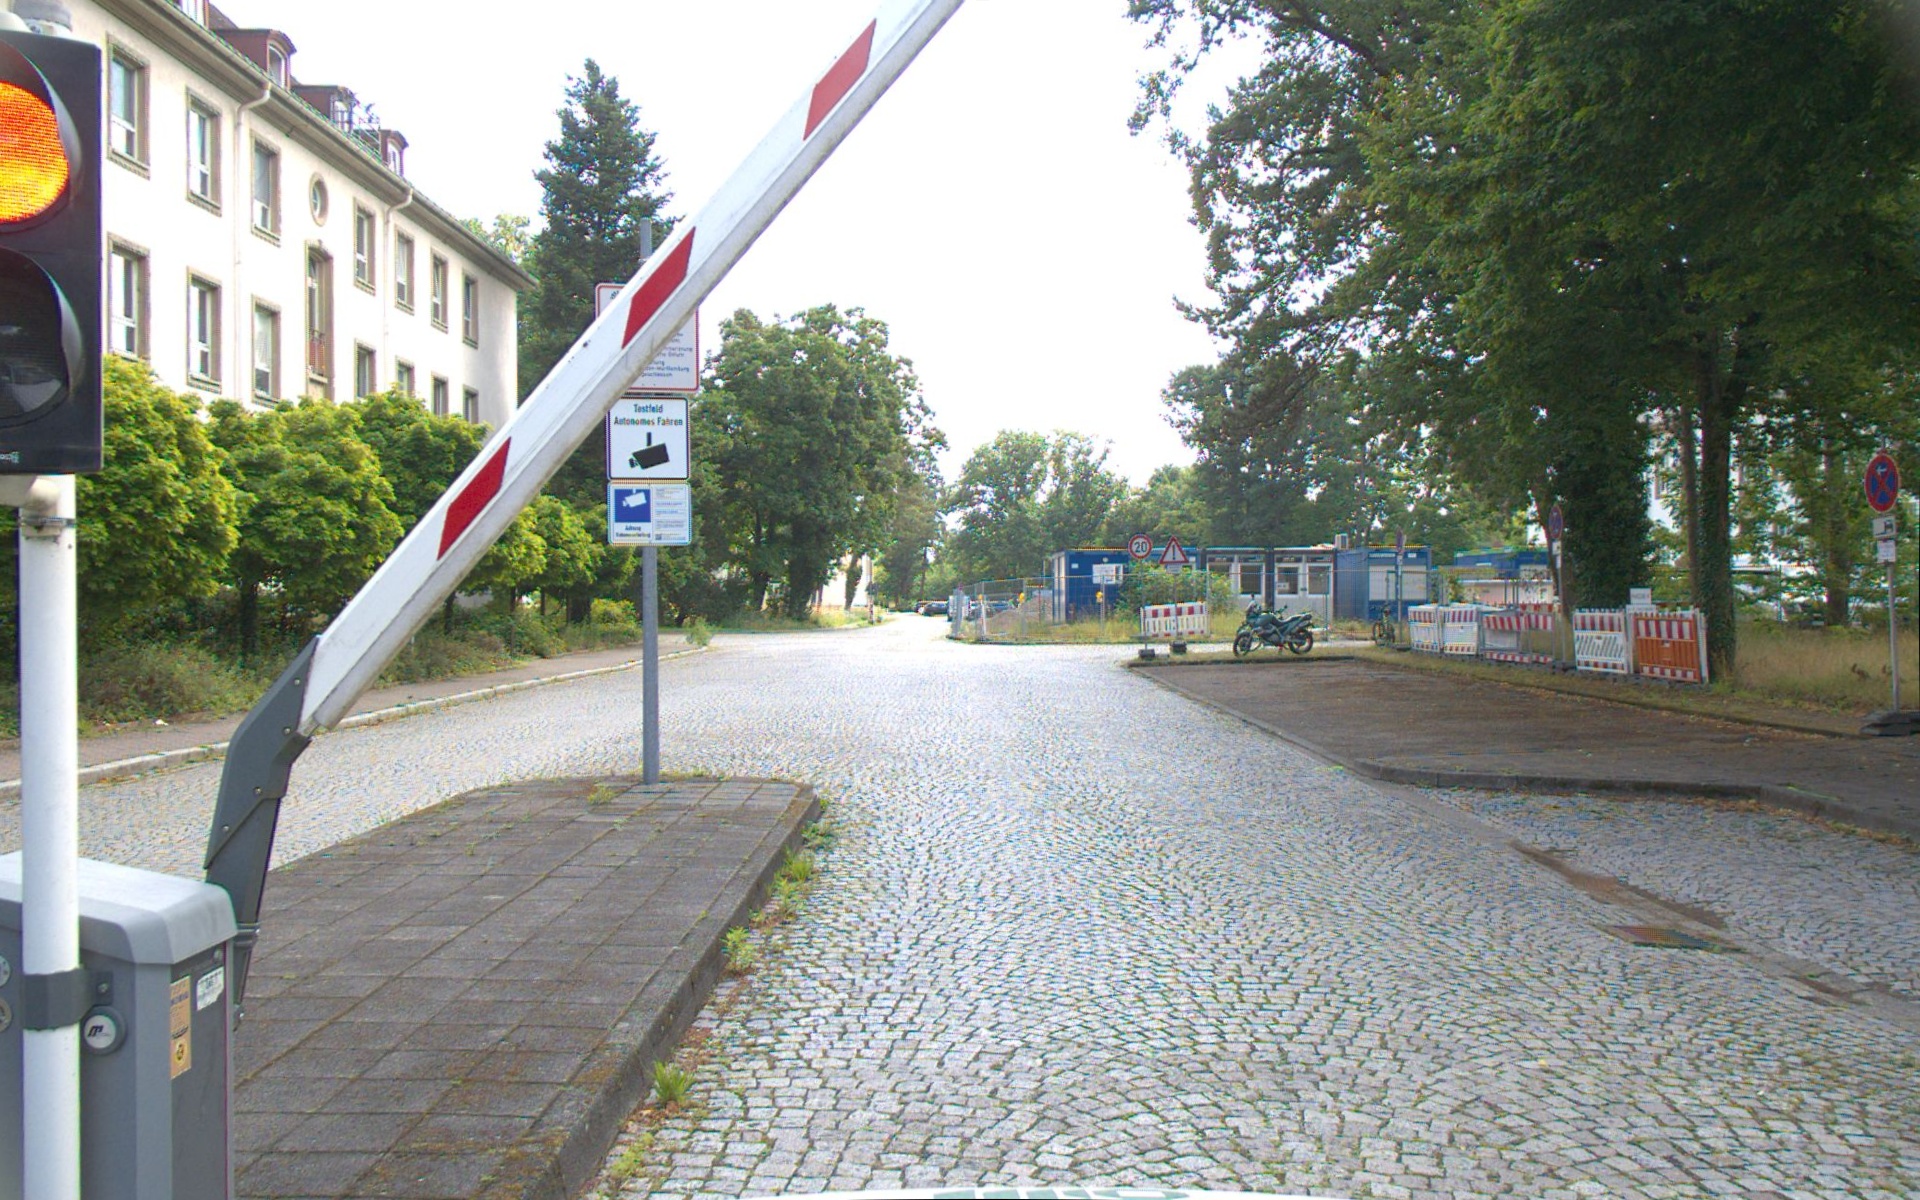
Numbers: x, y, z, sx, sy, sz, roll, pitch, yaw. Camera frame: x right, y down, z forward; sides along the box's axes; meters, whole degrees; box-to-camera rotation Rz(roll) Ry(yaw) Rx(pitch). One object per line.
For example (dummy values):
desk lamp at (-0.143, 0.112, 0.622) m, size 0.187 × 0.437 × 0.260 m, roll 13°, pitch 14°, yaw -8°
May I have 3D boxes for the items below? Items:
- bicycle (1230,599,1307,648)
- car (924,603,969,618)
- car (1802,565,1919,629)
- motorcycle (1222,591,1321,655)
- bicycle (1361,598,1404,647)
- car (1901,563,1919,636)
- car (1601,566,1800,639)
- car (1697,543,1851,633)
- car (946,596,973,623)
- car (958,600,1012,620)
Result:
bicycle at (7.972, 0.605, 42.773) m, size 1.859 × 1.218 × 0.656 m, roll -1°, pitch 0°, yaw 19°
car at (-1.436, 1.113, 178.082) m, size 4.688 × 1.669 × 1.997 m, roll 0°, pitch 0°, yaw -6°
car at (27.903, -0.071, 50.540) m, size 1.952 × 1.857 × 4.875 m, roll 1°, pitch 0°, yaw 1°
motorcycle at (7.583, 0.558, 40.281) m, size 2.232 × 1.511 × 0.756 m, roll -1°, pitch 0°, yaw -6°
bicycle at (10.696, 0.562, 41.921) m, size 0.629 × 1.189 × 1.905 m, roll -1°, pitch 0°, yaw 2°
car at (26.204, 0.012, 40.931) m, size 1.970 × 1.857 × 4.832 m, roll 1°, pitch 0°, yaw -27°
car at (20.786, 0.053, 46.532) m, size 4.758 × 1.954 × 1.907 m, roll 0°, pitch 1°, yaw 0°
car at (24.915, -0.333, 50.930) m, size 1.952 × 2.601 × 5.911 m, roll 1°, pitch 0°, yaw 2°
car at (-0.057, 0.764, 131.423) m, size 1.953 × 2.049 × 4.089 m, roll 0°, pitch 0°, yaw -2°
car at (2.090, 0.817, 136.973) m, size 4.309 × 1.537 × 2.001 m, roll 1°, pitch 0°, yaw 7°
